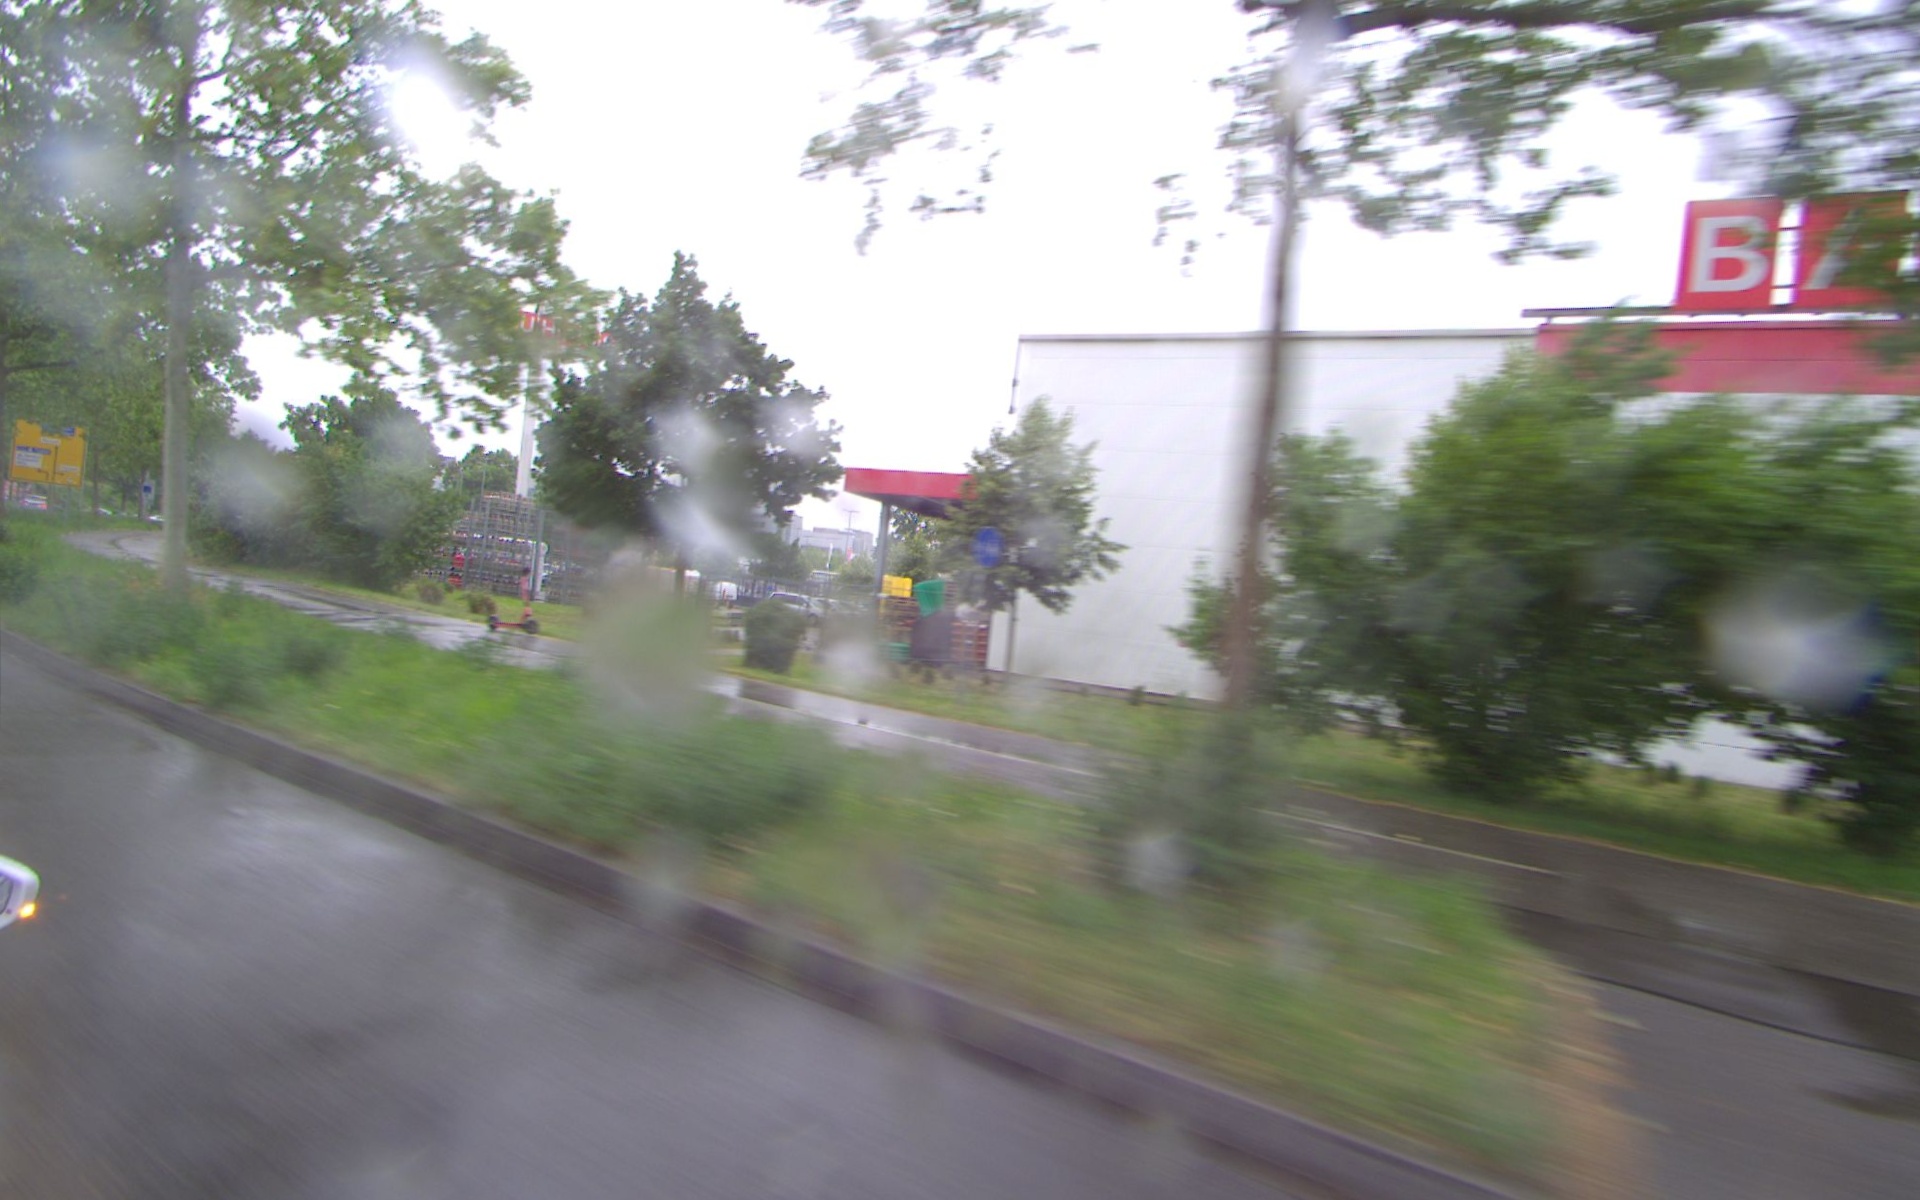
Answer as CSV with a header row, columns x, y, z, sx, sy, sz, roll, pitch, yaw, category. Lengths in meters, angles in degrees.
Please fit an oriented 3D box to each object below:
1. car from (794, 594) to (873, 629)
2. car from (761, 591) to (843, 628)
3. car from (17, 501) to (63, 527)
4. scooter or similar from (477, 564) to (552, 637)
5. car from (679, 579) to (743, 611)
x,y,z,sx,sy,sz,roll,pitch,yaw,category
-7.810,0.737,62.165,4.358,1.596,1.919,6,-1,26,car
-9.385,0.563,59.679,4.358,1.596,1.919,6,-1,26,car
-70.801,-6.604,77.479,1.769,1.573,3.965,9,-2,-33,car
-8.226,0.015,18.570,1.091,1.212,0.550,7,0,22,scooter or similar
-17.248,-0.348,69.629,3.930,1.689,1.783,6,-1,28,car
